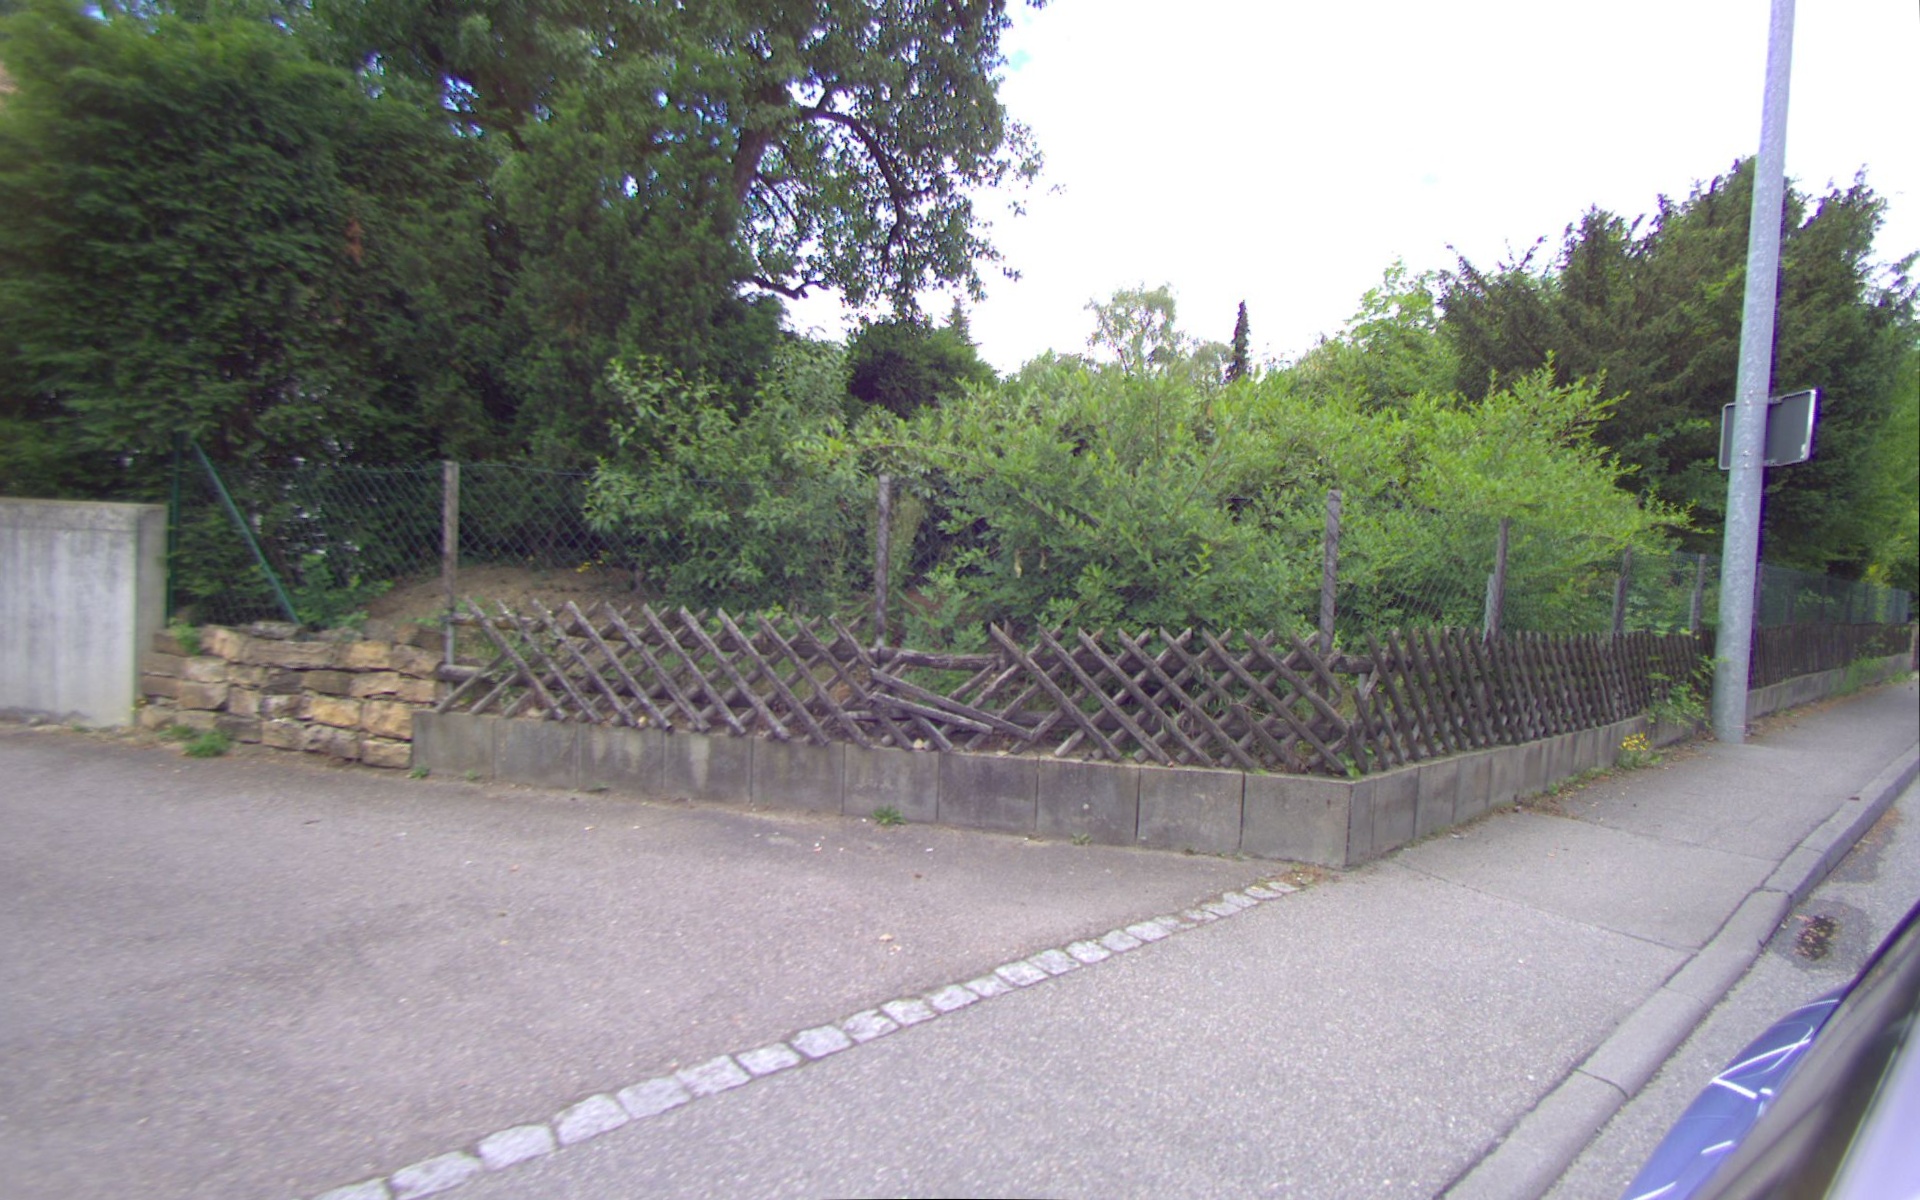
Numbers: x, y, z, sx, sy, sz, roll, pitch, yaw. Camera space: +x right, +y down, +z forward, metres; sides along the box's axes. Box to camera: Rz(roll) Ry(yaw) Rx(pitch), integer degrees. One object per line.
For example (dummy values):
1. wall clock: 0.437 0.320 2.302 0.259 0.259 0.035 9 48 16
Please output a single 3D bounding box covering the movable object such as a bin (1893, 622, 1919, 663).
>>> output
1. movable object such as a bin: 25.802 1.149 27.442 0.534 1.058 0.505 5 1 22
